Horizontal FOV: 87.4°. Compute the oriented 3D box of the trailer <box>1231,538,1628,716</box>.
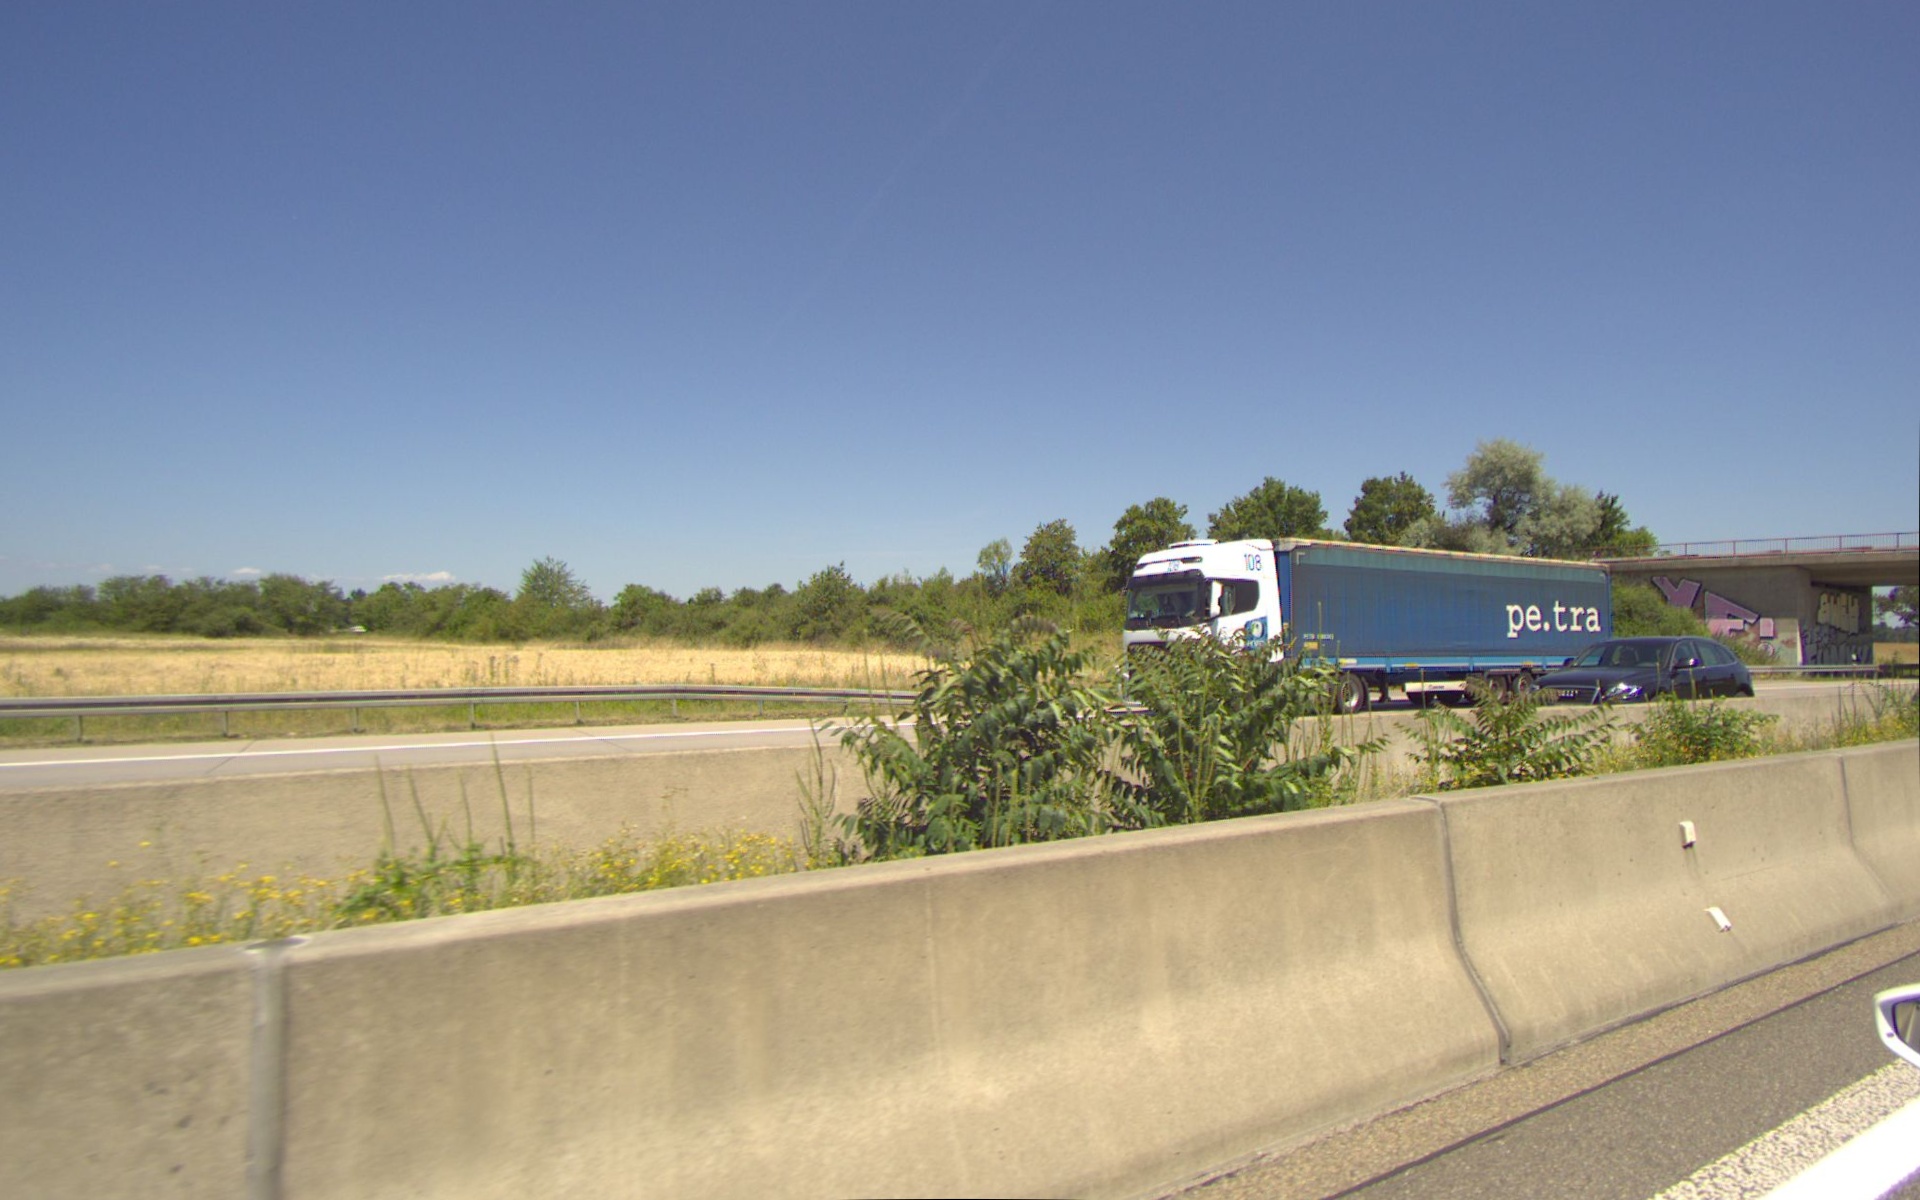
[{"bbox_3d":[13.044,0.804,27.050,13.069,3.990,2.821,1,-3,-31],"label":"trailer"}]

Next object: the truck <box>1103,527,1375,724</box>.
[{"bbox_3d":[6.448,0.639,23.095,5.757,3.990,2.821,1,-3,-31],"label":"truck"}]

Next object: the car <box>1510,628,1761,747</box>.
[{"bbox_3d":[11.328,1.385,16.821,4.074,1.760,1.899,1,-3,-30],"label":"car"}]
